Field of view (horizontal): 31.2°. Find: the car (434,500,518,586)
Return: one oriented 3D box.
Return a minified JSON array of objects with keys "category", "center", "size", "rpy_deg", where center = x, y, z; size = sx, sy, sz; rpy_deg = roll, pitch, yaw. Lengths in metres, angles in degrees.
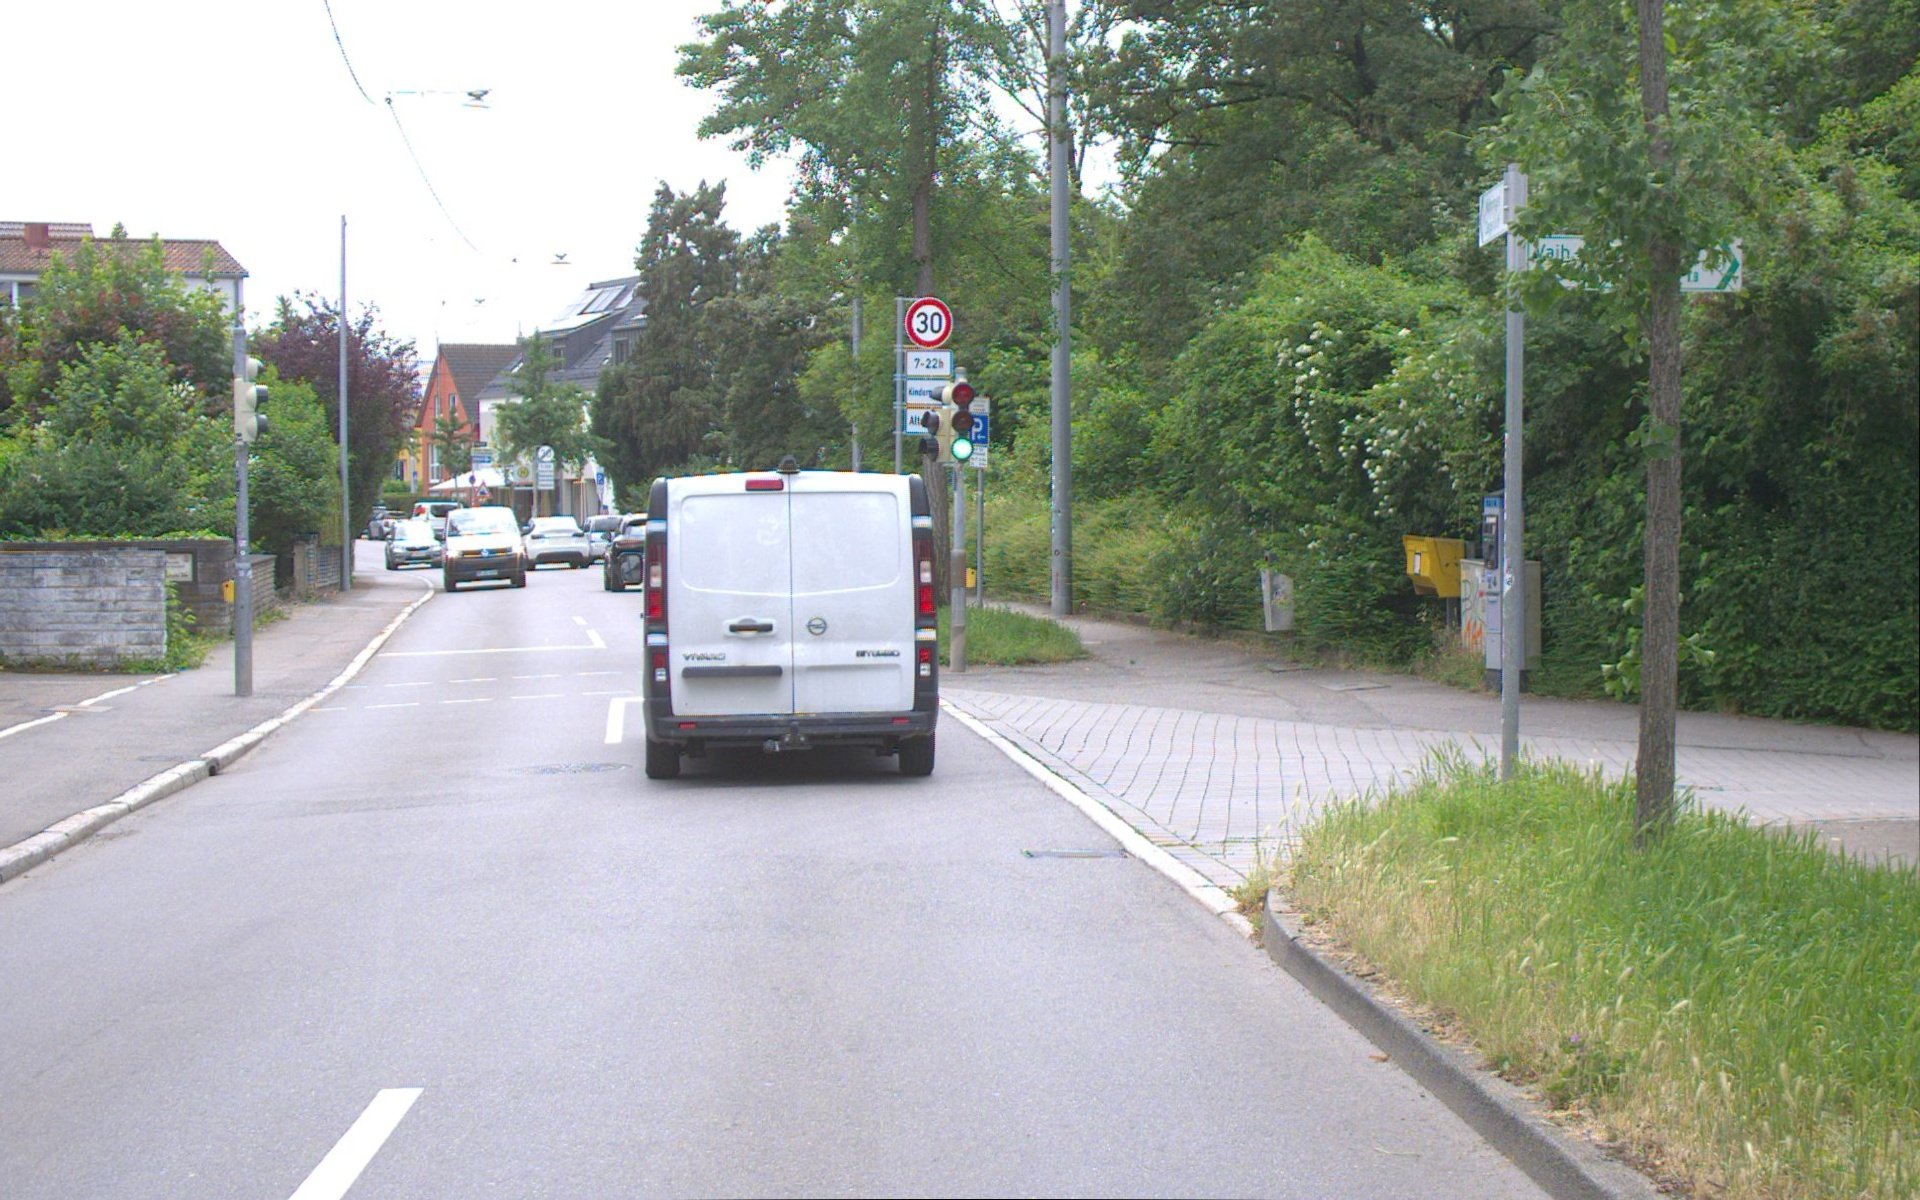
[{"category":"car","center":[-11.654,-1.410,83.004],"size":[1.867,1.904,5.117],"rpy_deg":[-3,2,-7]}]

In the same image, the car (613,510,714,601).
[{"category":"car","center":[-6.164,-0.948,71.916],"size":[1.896,1.853,4.405],"rpy_deg":[0,1,-2]}]

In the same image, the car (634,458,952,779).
[{"category":"car","center":[-1.130,0.070,23.168],"size":[1.930,1.957,4.402],"rpy_deg":[0,1,-3]}]

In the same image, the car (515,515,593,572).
[{"category":"car","center":[-12.497,-1.749,105.672],"size":[1.824,1.722,4.001],"rpy_deg":[0,1,-15]}]

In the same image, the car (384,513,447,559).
[{"category":"car","center":[-18.895,-2.225,119.134],"size":[1.883,1.507,4.114],"rpy_deg":[-2,2,-12]}]
